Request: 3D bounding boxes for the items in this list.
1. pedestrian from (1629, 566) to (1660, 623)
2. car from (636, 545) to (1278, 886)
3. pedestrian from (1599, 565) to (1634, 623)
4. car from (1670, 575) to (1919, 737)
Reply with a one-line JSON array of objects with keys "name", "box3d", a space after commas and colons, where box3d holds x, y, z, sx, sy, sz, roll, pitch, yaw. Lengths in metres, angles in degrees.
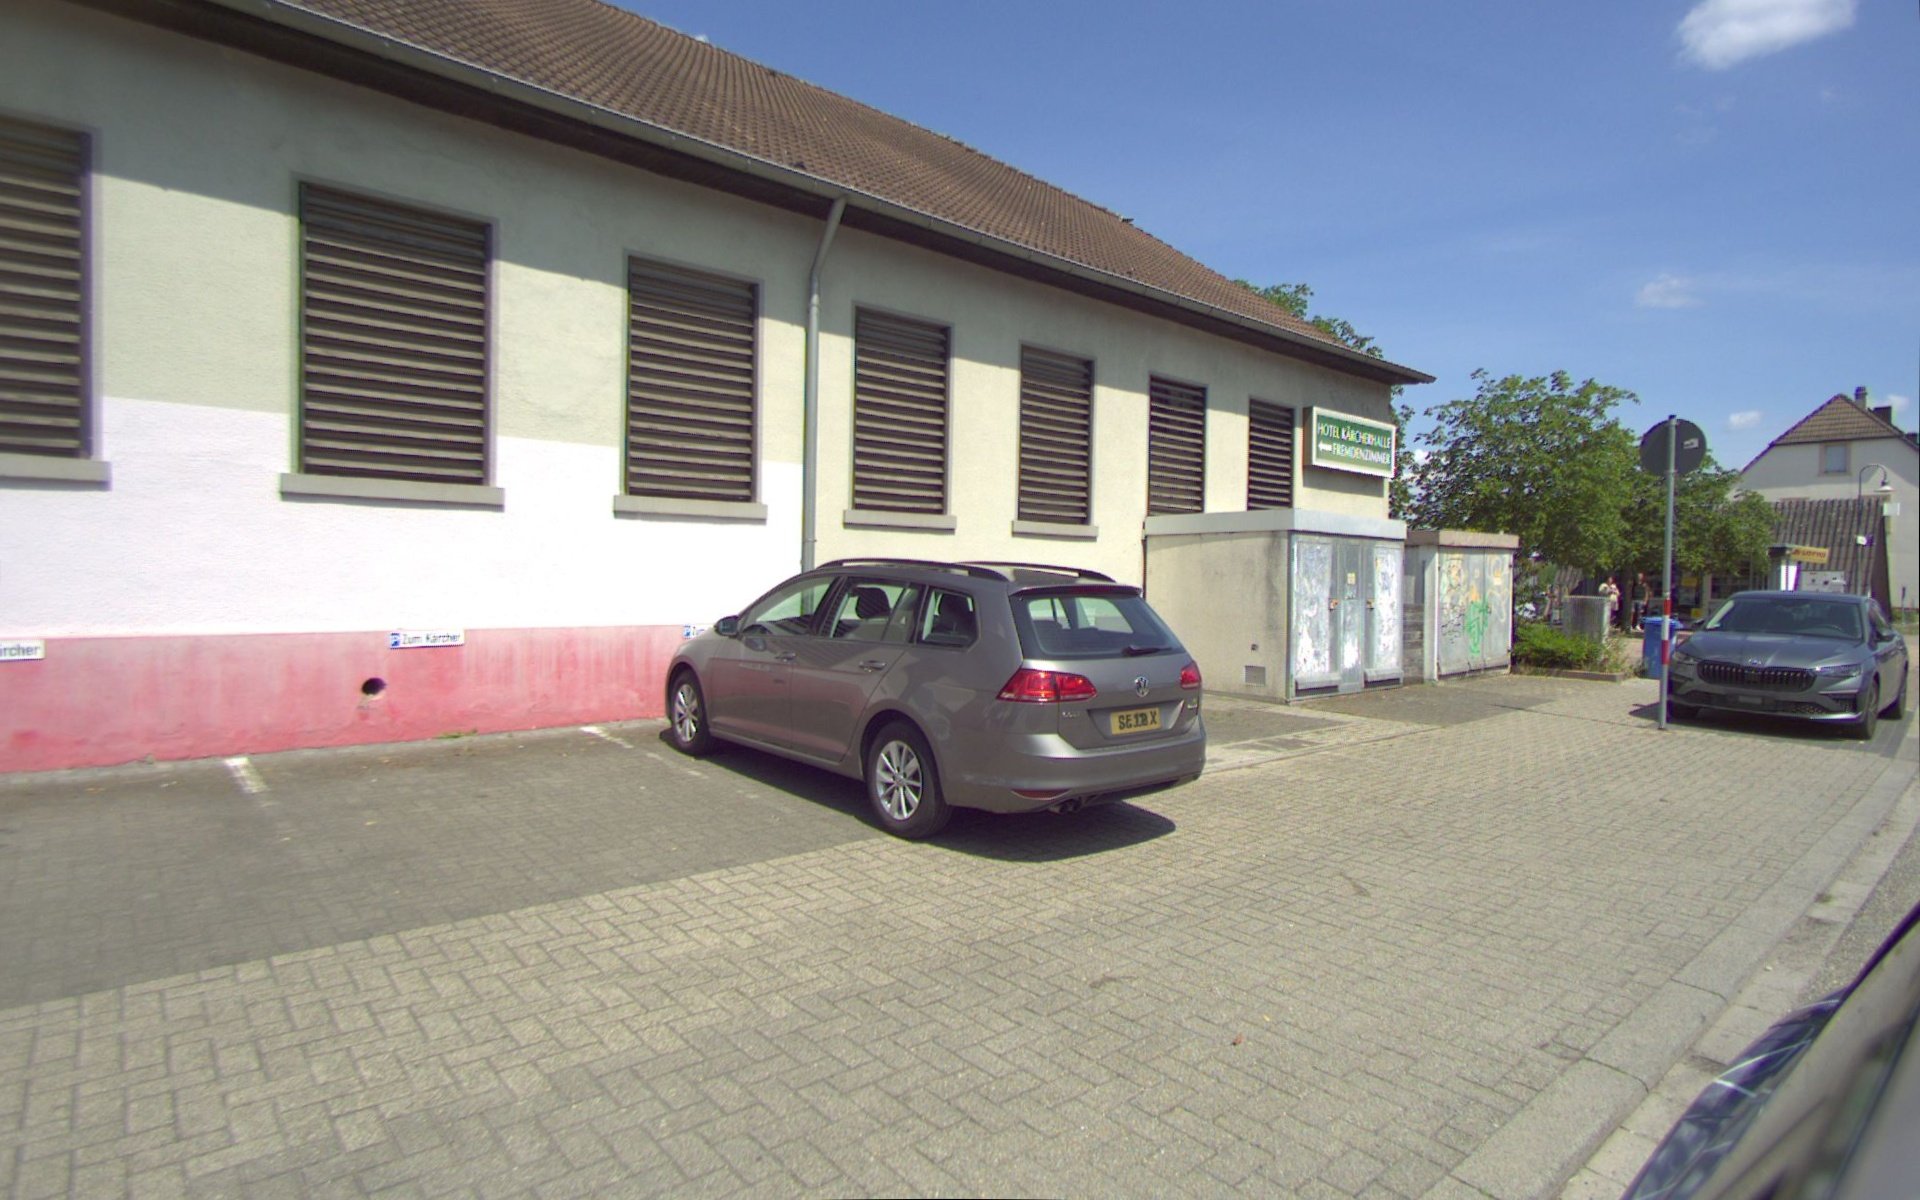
[{"name": "pedestrian", "box3d": [21.353, -0.170, 31.576, 0.587, 1.741, 0.464, 1, 1, 1]}, {"name": "car", "box3d": [-0.385, 0.418, 6.864, 1.884, 1.472, 4.537, 0, 3, -40]}, {"name": "pedestrian", "box3d": [20.511, -0.195, 31.620, 0.668, 1.811, 0.549, 1, 1, 1]}, {"name": "car", "box3d": [9.638, 0.507, 11.548, 4.069, 1.507, 1.630, 0, 2, -42]}]
